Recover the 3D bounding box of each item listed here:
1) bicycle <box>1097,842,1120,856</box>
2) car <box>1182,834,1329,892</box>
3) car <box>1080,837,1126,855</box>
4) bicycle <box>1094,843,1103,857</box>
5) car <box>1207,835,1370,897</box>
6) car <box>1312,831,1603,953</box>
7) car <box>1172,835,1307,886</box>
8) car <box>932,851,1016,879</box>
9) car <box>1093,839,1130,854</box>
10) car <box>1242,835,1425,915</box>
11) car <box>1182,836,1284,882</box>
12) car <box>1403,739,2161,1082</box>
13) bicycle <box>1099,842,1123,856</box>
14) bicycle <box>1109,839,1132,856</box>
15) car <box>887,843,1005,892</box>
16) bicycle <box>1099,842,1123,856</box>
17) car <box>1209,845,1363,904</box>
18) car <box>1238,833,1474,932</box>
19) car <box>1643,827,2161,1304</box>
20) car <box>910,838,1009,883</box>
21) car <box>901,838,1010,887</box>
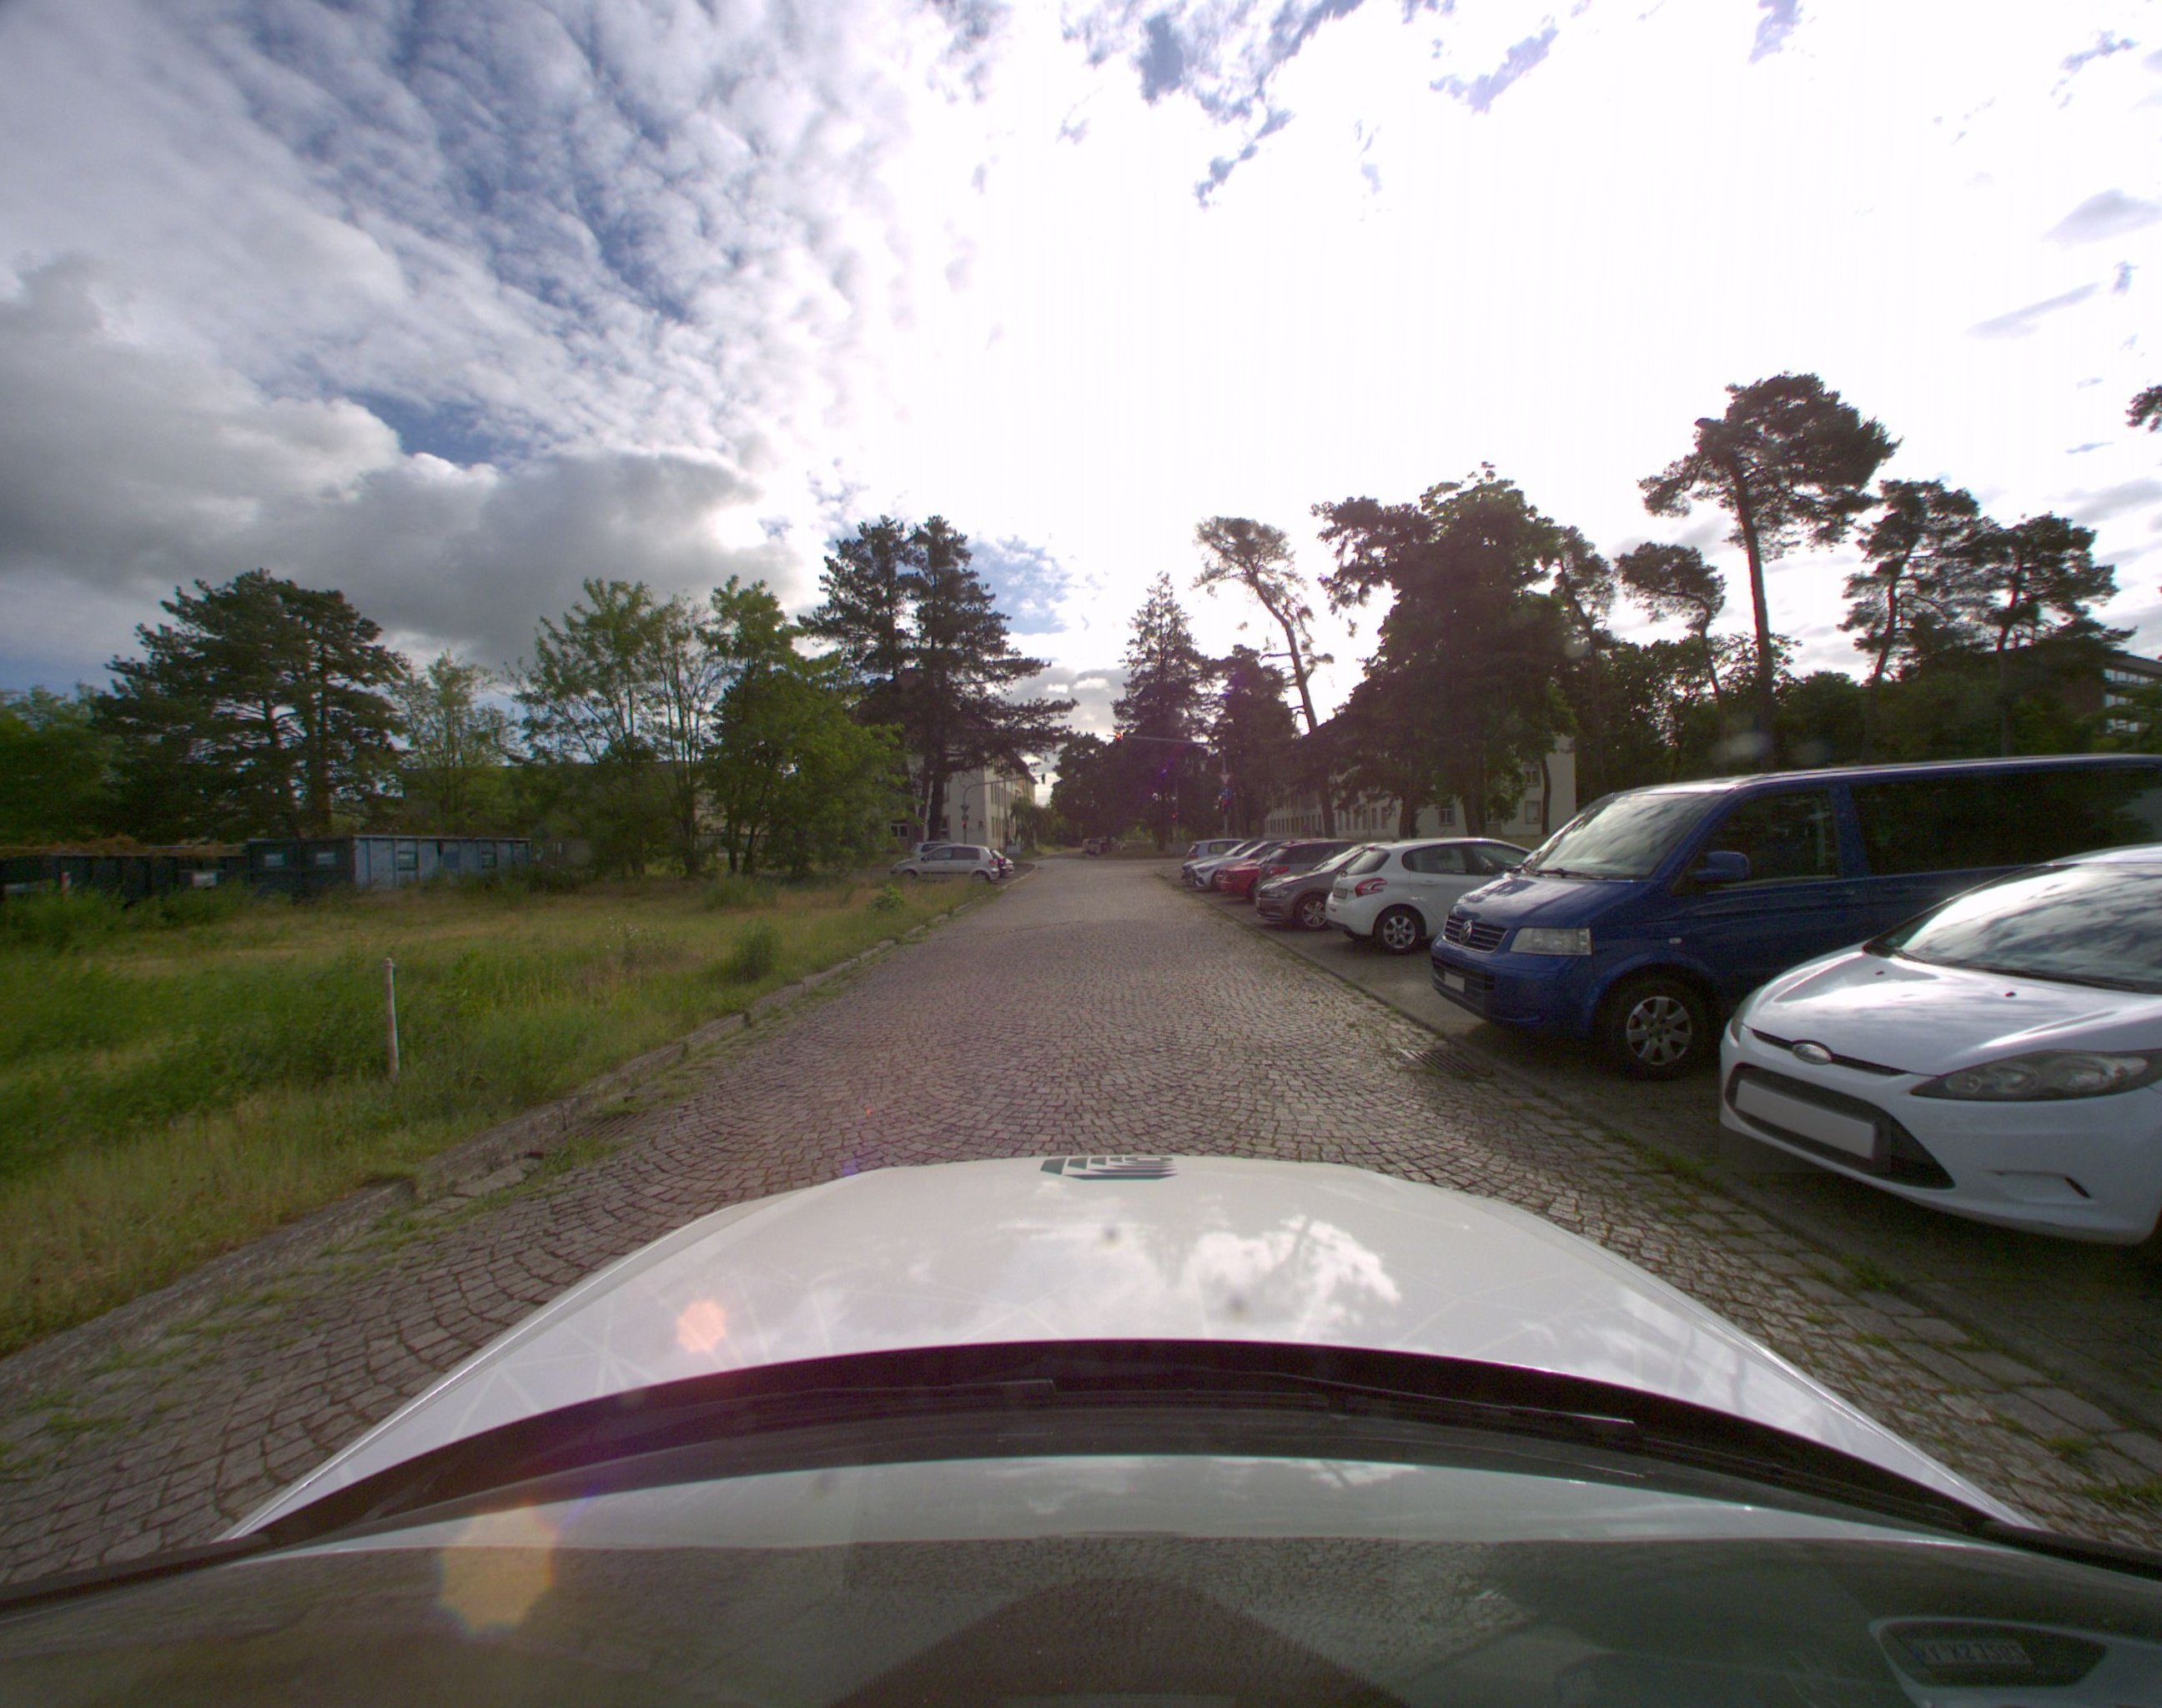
[{"bbox_3d":[2.695,-0.508,80.604,2.158,1.268,0.811,-1,1,-6],"label":"bicycle"},{"bbox_3d":[5.189,0.241,24.432,3.981,1.543,1.661,-2,1,-5],"label":"car"},{"bbox_3d":[2.592,-0.973,96.625,5.051,2.013,1.993,-1,1,-10],"label":"car"},{"bbox_3d":[1.605,-0.380,75.046,0.807,1.268,1.974,-1,1,2],"label":"bicycle"},{"bbox_3d":[5.603,0.299,22.201,3.981,1.543,1.661,-1,1,-5],"label":"car"},{"bbox_3d":[5.105,0.475,11.343,3.283,1.504,1.663,-1,1,-2],"label":"car"},{"bbox_3d":[5.263,0.196,27.250,4.116,1.543,1.661,-2,1,-5],"label":"car"},{"bbox_3d":[-4.789,0.495,36.787,3.666,1.093,1.643,-2,1,-6],"label":"car"},{"bbox_3d":[3.510,-0.833,93.348,3.981,1.644,1.996,-1,1,-6],"label":"car"},{"bbox_3d":[5.291,0.397,17.240,3.293,1.504,1.658,-2,1,-10],"label":"car"},{"bbox_3d":[5.528,0.167,29.820,3.384,1.543,1.389,-2,1,-5],"label":"car"},{"bbox_3d":[5.094,0.326,5.986,4.768,2.039,1.738,-2,1,-1],"label":"car"},{"bbox_3d":[2.910,-0.503,78.803,2.158,1.268,0.811,-1,1,-6],"label":"bicycle"},{"bbox_3d":[3.849,-0.689,80.097,2.158,1.615,0.811,-1,1,-6],"label":"bicycle"},{"bbox_3d":[-4.718,0.440,29.026,3.981,1.552,1.996,-2,1,-6],"label":"car"},{"bbox_3d":[2.914,-0.505,79.390,2.158,1.268,0.811,-1,1,-6],"label":"bicycle"},{"bbox_3d":[4.953,0.460,19.956,3.287,1.267,1.661,-2,1,-5],"label":"car"},{"bbox_3d":[4.779,0.442,14.362,3.598,1.506,1.658,-2,1,-10],"label":"car"},{"bbox_3d":[4.847,0.631,3.524,3.713,1.424,1.653,-3,1,-2],"label":"car"},{"bbox_3d":[-5.105,0.245,34.604,3.983,1.749,1.923,-1,1,-7],"label":"car"},{"bbox_3d":[-4.788,0.305,31.519,3.981,1.705,1.996,-2,1,-6],"label":"car"}]
